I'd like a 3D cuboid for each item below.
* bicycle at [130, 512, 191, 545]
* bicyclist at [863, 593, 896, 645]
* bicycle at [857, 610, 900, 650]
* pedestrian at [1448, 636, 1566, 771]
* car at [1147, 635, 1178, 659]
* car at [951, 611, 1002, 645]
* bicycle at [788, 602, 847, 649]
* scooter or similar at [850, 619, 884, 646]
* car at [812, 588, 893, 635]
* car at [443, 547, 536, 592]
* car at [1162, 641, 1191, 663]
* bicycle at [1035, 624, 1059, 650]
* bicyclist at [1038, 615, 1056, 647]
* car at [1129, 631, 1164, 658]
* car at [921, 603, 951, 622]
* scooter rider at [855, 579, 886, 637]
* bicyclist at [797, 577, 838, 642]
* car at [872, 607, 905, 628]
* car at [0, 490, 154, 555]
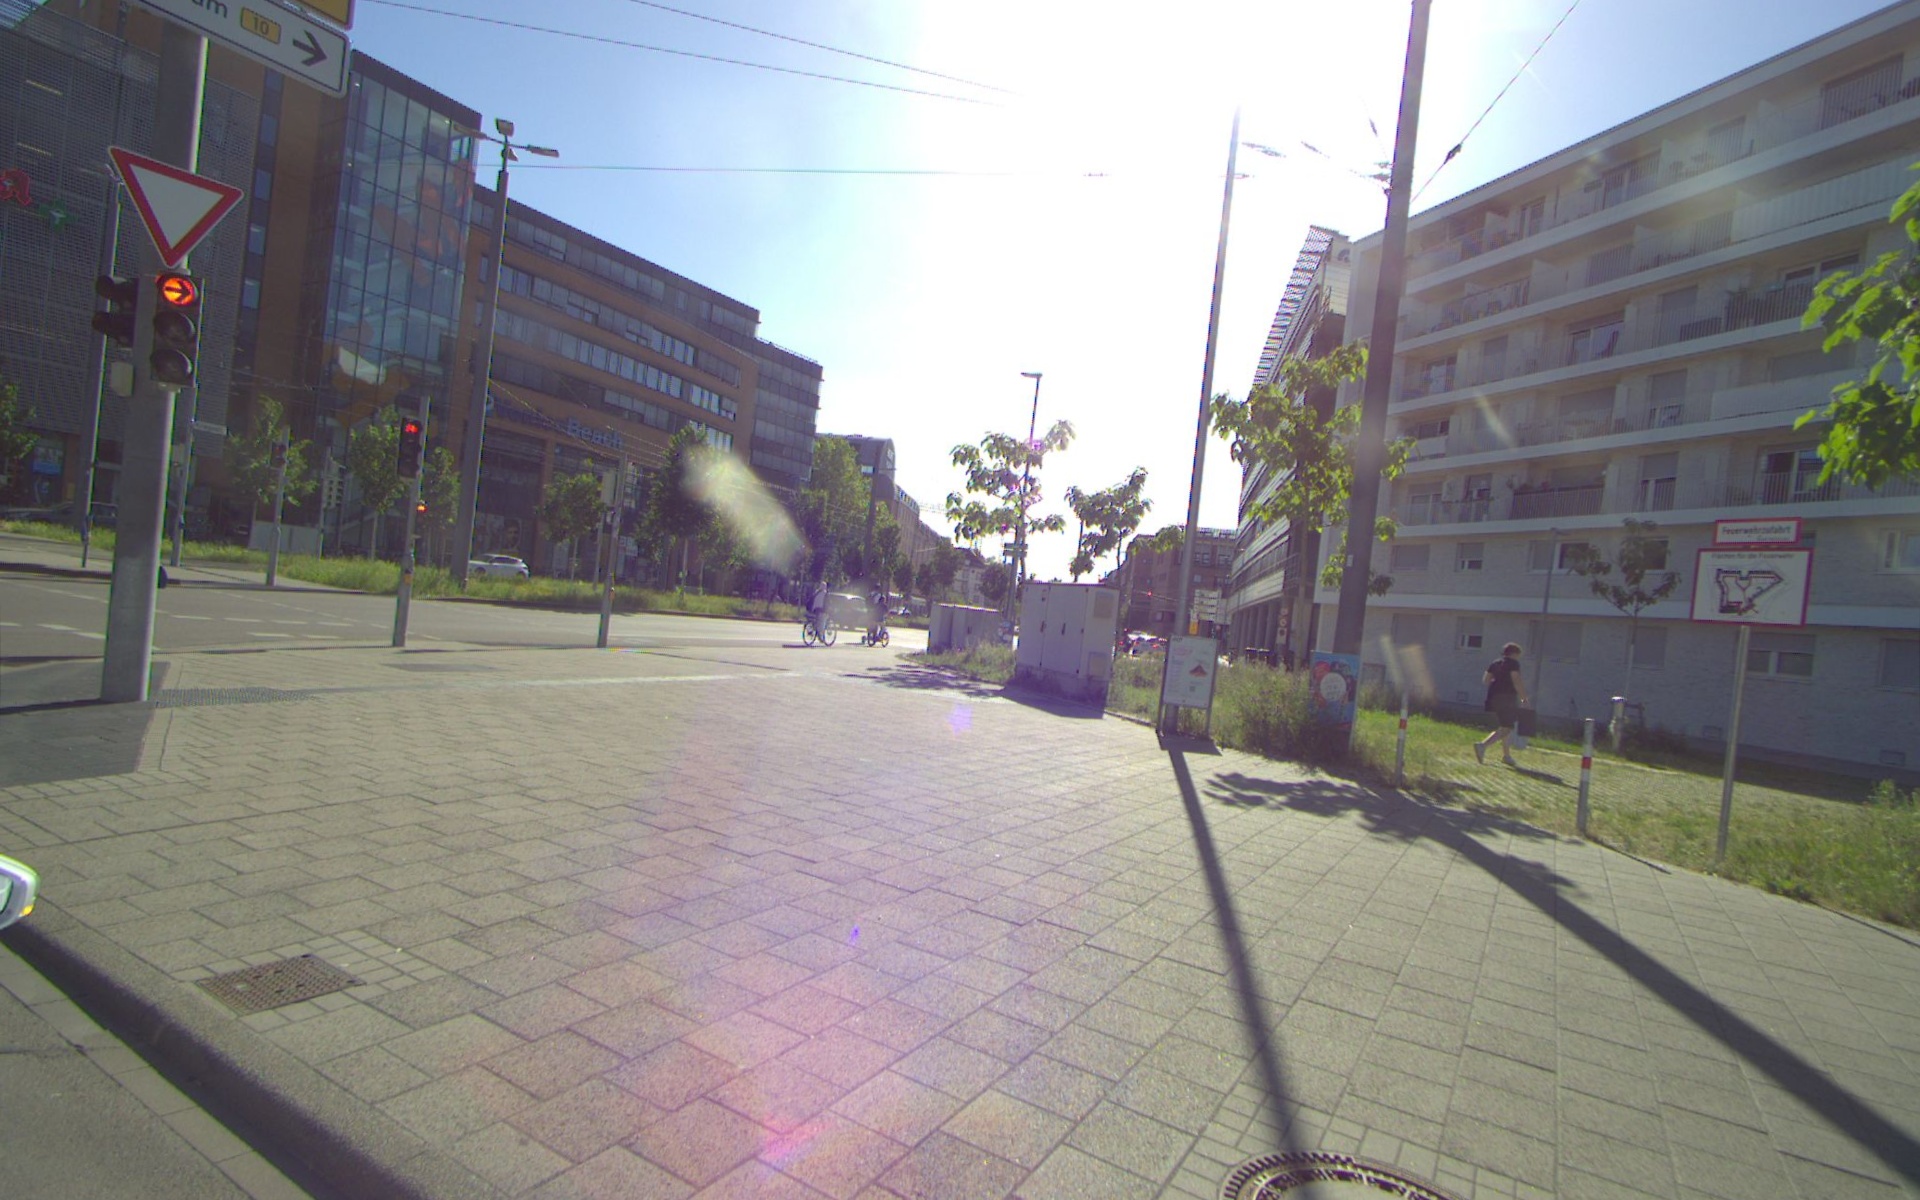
[{"bbox_3d":[-40.524,-3.609,51.035,0.595,1.310,2.260,7,-2,30],"label":"bicycle"},{"bbox_3d":[-2.649,0.640,32.975,0.563,1.585,0.886,7,-1,22],"label":"bicyclist"},{"bbox_3d":[-2.670,0.997,33.037,0.576,1.150,1.761,7,-2,22],"label":"bicycle"},{"bbox_3d":[7.695,1.448,14.189,0.970,1.719,0.842,6,2,-16],"label":"pedestrian"},{"bbox_3d":[15.621,3.606,77.419,1.677,1.515,4.281,7,-2,19],"label":"car"},{"bbox_3d":[1.035,1.663,59.504,1.616,1.665,4.200,7,-1,20],"label":"car"},{"bbox_3d":[-4.045,0.735,28.684,0.571,1.150,1.907,7,-2,25],"label":"bicycle"},{"bbox_3d":[-3.177,1.131,34.568,0.603,0.795,1.213,7,-2,22],"label":"scooter or similar"},{"bbox_3d":[-4.637,0.545,43.868,1.617,1.665,3.700,7,-1,26],"label":"car"},{"bbox_3d":[-25.822,-1.624,55.388,1.808,1.661,4.308,6,-5,25],"label":"car"},{"bbox_3d":[17.912,4.327,83.263,1.677,1.515,4.281,7,-2,19],"label":"car"},{"bbox_3d":[4.674,1.981,53.683,0.576,1.271,2.042,7,-2,22],"label":"bicycle"},{"bbox_3d":[4.642,1.638,53.549,0.563,1.585,0.886,7,-1,22],"label":"bicyclist"},{"bbox_3d":[13.250,3.171,71.160,1.677,1.515,4.281,7,-2,19],"label":"car"},{"bbox_3d":[-3.026,1.594,127.508,1.809,1.885,4.336,6,-1,28],"label":"car"},{"bbox_3d":[-3.076,0.279,34.575,0.563,1.894,0.787,7,-1,22],"label":"scooter rider"},{"bbox_3d":[-4.049,0.273,28.556,0.563,1.727,0.885,7,-1,25],"label":"bicyclist"},{"bbox_3d":[-7.936,1.984,112.271,1.807,1.600,4.310,7,-5,23],"label":"car"},{"bbox_3d":[-32.075,-2.768,36.328,1.810,1.484,4.161,6,-5,30],"label":"car"}]
